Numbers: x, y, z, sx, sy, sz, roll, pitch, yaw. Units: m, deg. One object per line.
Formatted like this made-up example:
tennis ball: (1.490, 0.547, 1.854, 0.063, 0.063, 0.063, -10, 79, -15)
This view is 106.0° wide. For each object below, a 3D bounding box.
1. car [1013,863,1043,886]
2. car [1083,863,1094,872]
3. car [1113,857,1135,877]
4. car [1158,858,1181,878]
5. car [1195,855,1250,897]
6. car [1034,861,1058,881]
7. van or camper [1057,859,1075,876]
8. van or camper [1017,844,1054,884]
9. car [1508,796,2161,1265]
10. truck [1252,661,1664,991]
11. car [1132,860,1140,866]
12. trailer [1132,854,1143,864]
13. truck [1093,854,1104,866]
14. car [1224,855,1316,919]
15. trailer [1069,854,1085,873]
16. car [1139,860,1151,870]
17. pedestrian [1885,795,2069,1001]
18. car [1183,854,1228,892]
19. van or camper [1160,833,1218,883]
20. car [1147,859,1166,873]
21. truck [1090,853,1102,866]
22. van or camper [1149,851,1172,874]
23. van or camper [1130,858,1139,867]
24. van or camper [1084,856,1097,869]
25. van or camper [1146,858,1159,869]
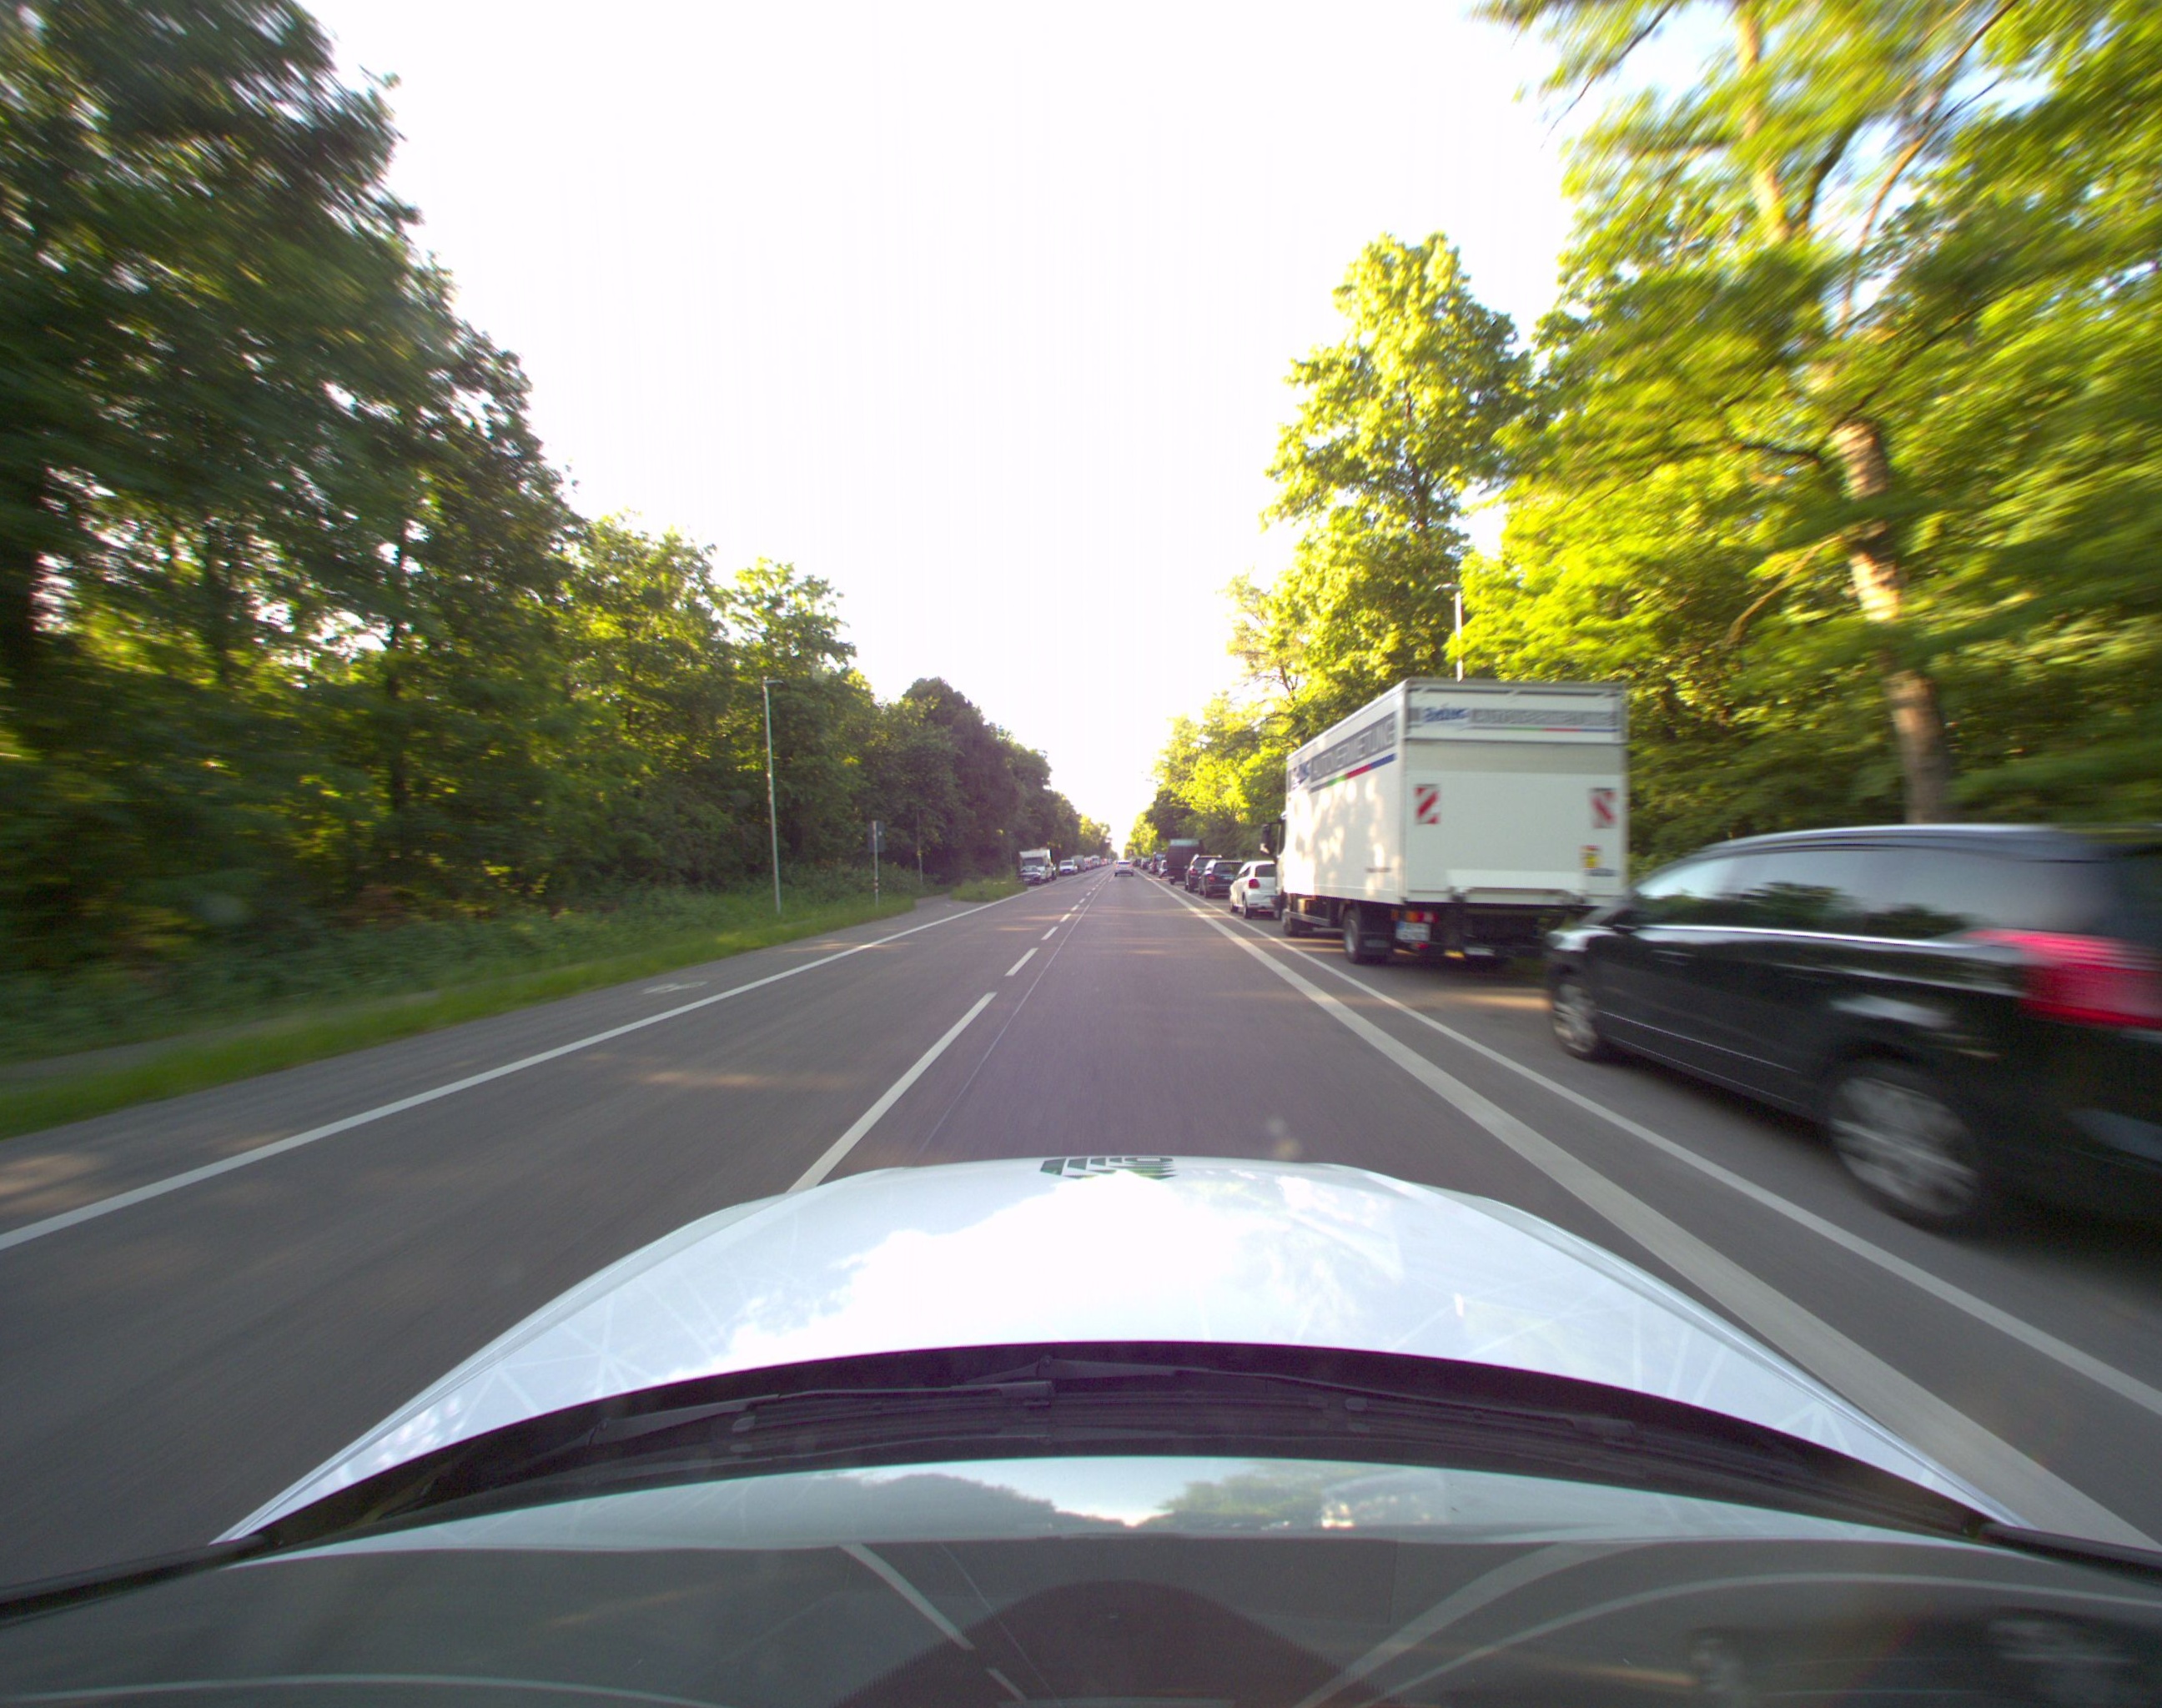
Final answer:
car: (-3.806, 1.467, 59.245, 1.821, 1.476, 4.680, -4, -1, 0)
car: (1.458, 2.411, 150.286, 1.724, 1.478, 4.327, -4, -1, 3)
car: (4.222, 1.272, 79.458, 2.020, 1.840, 4.032, -2, 0, 3)
car: (7.121, 1.072, 65.585, 1.704, 1.545, 4.026, 0, 0, 4)
car: (5.527, 0.822, 32.250, 1.704, 1.568, 4.556, 0, 0, 4)
car: (-3.156, 1.549, 74.702, 1.639, 1.632, 4.277, -4, -1, 3)
van or camper: (-1.832, 1.639, 100.679, 1.828, 1.911, 4.858, -4, -1, 2)
van or camper: (-3.629, 0.799, 66.388, 2.307, 2.970, 7.111, -4, -1, 0)
car: (4.347, 0.616, 4.865, 1.789, 1.657, 4.036, -2, 0, 6)
truck: (5.018, -0.289, 13.200, 2.822, 3.497, 8.582, -2, 0, 2)
car: (14.154, 2.330, 209.666, 1.833, 1.662, 4.004, -2, -1, 3)
trailer: (16.006, 1.413, 231.670, 2.746, 2.870, 6.593, -2, -1, 3)
truck: (4.689, 1.607, 216.367, 2.696, 3.093, 7.995, -2, -1, 3)
car: (4.938, 0.807, 21.791, 1.705, 1.568, 4.003, 0, 0, 3)
trailer: (-0.580, 1.437, 123.398, 1.985, 2.597, 4.419, -4, -1, 3)
car: (9.969, 1.749, 127.073, 1.683, 1.524, 4.152, -1, -1, 3)
pedestrian: (8.231, 0.386, 7.526, 0.615, 1.764, 0.907, -3, -1, 2)
car: (5.689, 0.831, 37.738, 1.704, 1.665, 4.556, 0, 0, 4)
van or camper: (6.793, 0.226, 50.418, 2.422, 2.800, 6.585, -3, 0, 16)
car: (8.674, 1.402, 93.588, 1.741, 1.515, 4.000, -3, -1, 1)
truck: (4.267, 1.523, 227.686, 2.696, 3.348, 10.931, -2, -1, 3)
van or camper: (8.425, 0.910, 86.793, 2.027, 2.312, 6.044, -3, 0, 2)
van or camper: (12.274, 1.911, 186.956, 1.985, 1.932, 5.203, -1, -1, 3)
van or camper: (2.003, 1.748, 169.030, 2.112, 2.572, 6.547, -3, -1, 3)
van or camper: (11.611, 1.545, 133.223, 1.943, 1.815, 4.384, -2, -1, 3)
